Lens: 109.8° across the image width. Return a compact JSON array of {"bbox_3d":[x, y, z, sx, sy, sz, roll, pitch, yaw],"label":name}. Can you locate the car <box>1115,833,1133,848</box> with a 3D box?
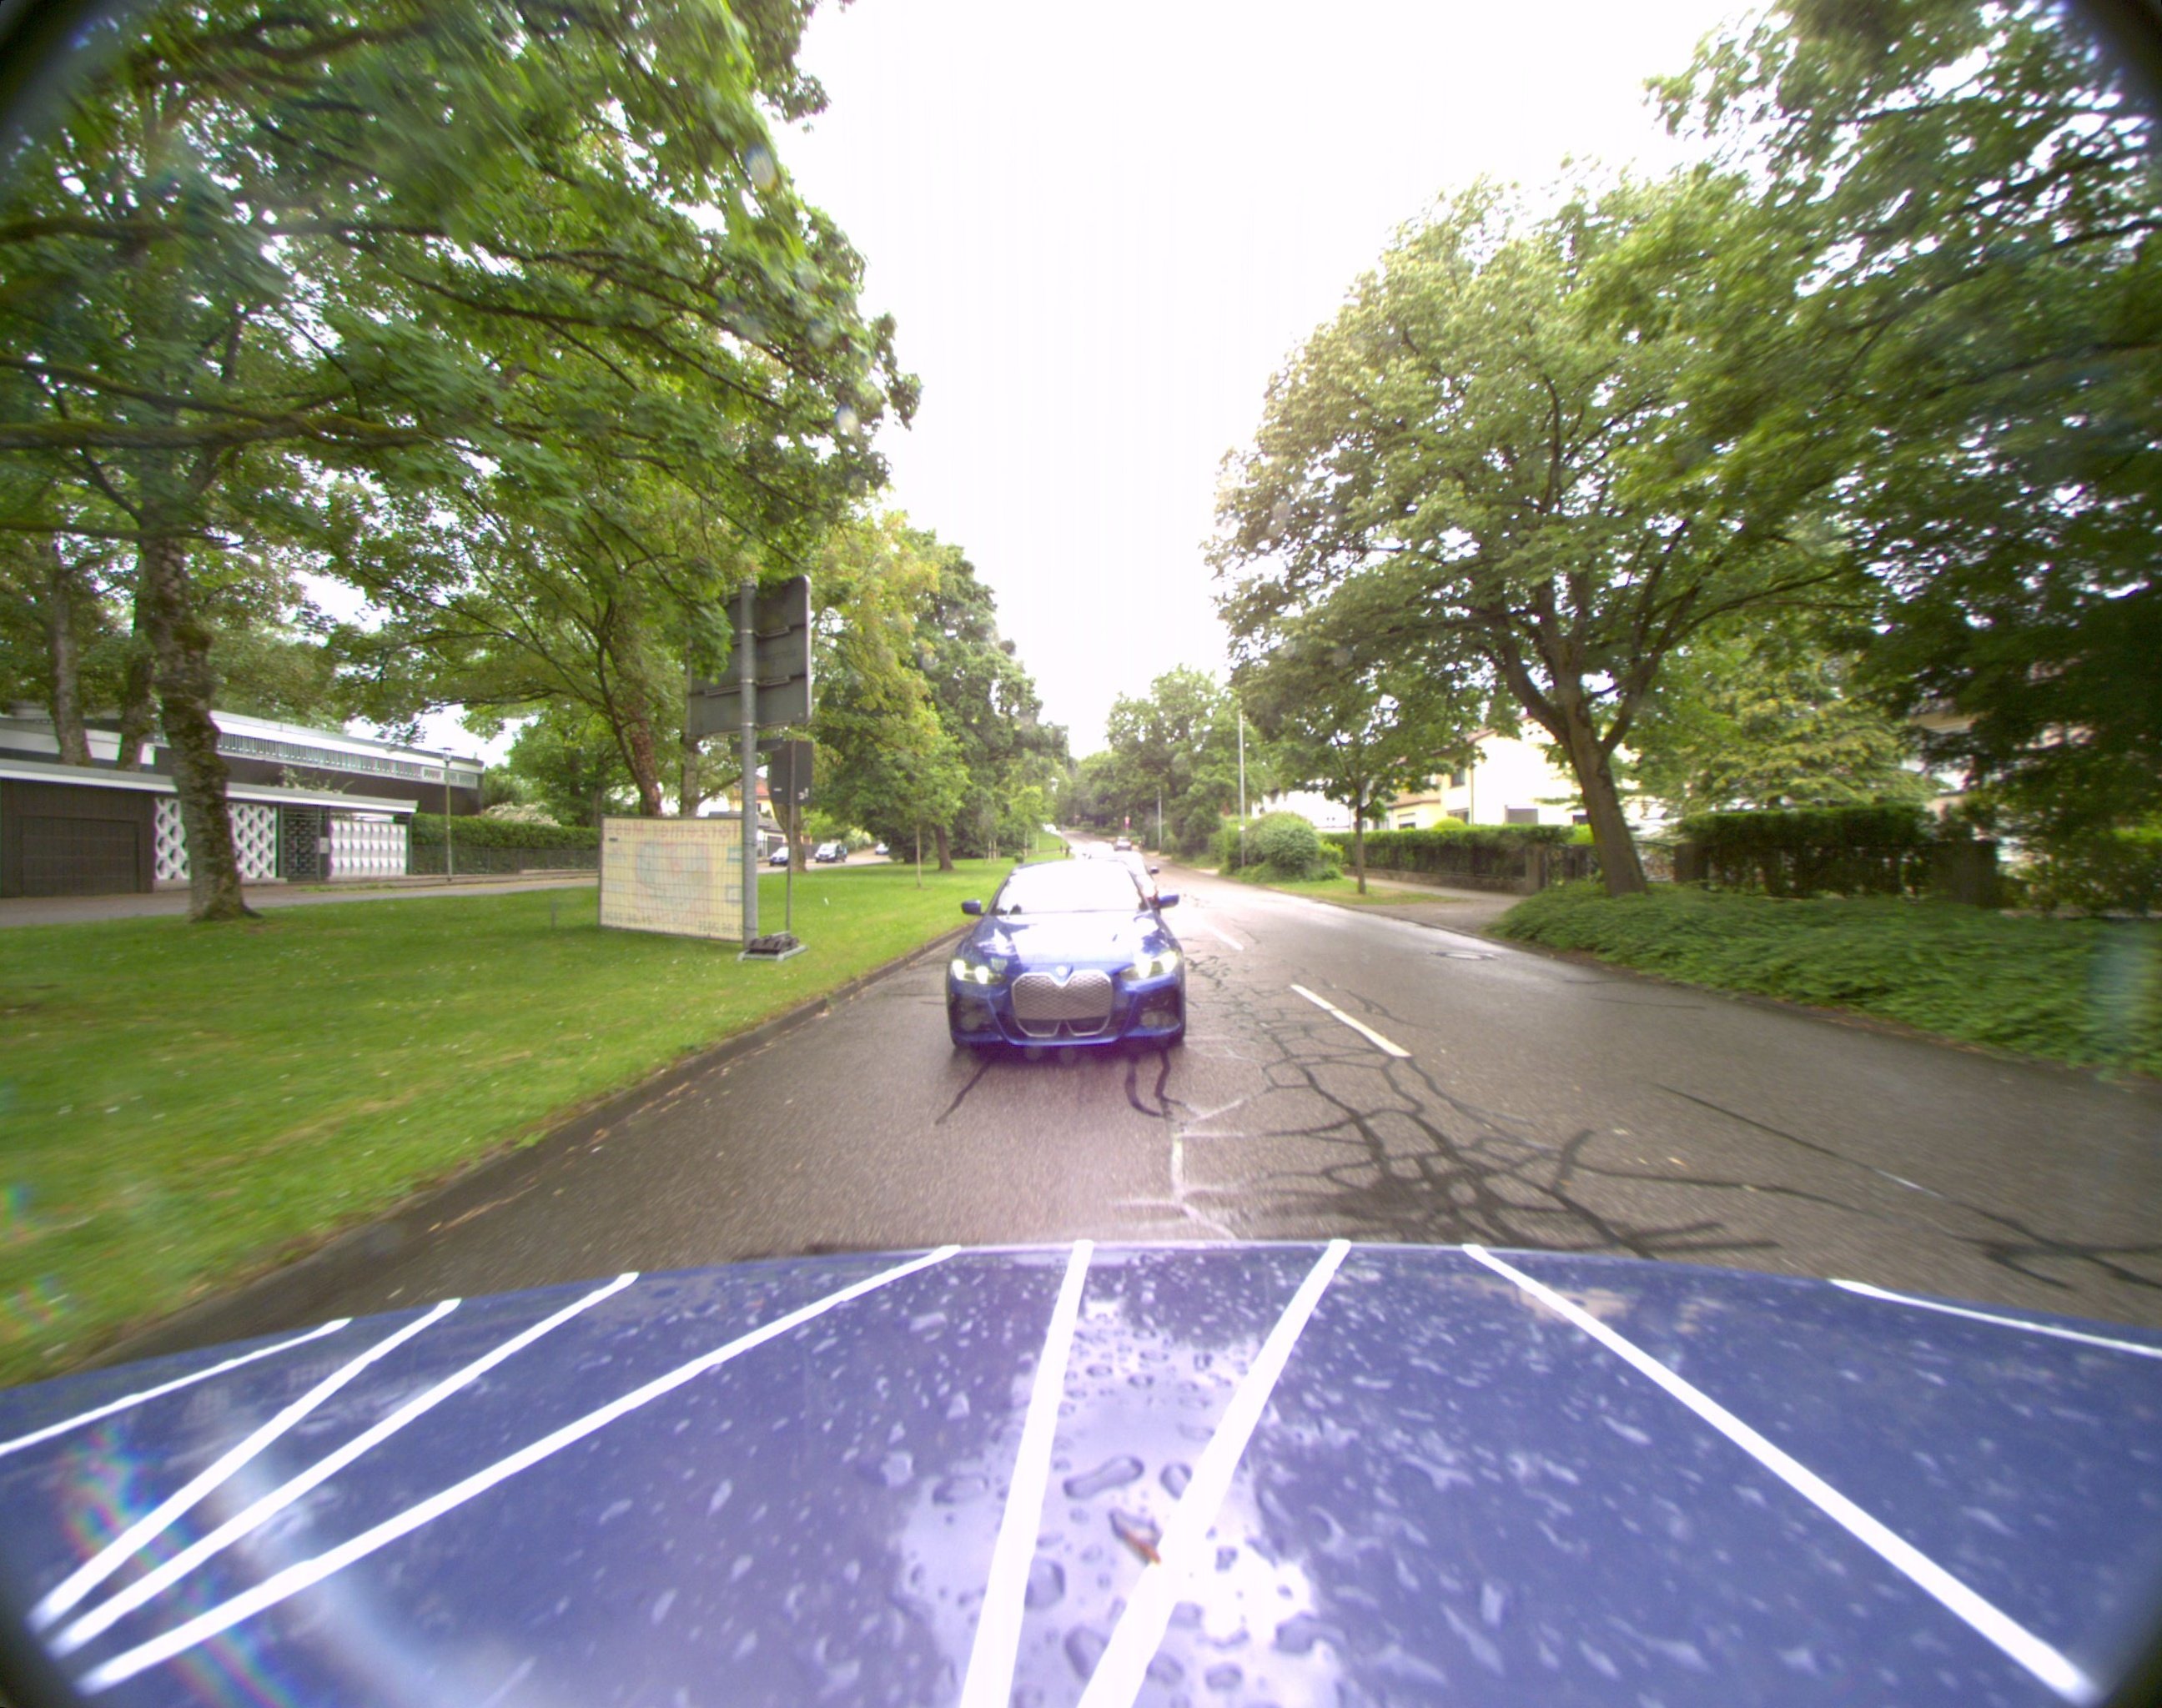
[{"bbox_3d":[4.720,-1.496,83.063,1.768,1.605,4.140,0,1,0],"label":"car"}]

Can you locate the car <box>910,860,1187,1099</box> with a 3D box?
[{"bbox_3d":[-0.105,0.874,7.368,1.796,1.459,4.510,-3,1,3],"label":"car"}]

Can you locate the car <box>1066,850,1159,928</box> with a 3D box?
[{"bbox_3d":[0.731,0.687,17.193,1.795,1.459,4.510,-1,1,3],"label":"car"}]

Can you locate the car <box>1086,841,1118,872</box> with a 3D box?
[{"bbox_3d":[1.149,0.103,41.356,1.678,1.543,3.831,0,2,2],"label":"car"}]

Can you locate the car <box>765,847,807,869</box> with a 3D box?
[{"bbox_3d":[-23.820,0.320,61.529,1.907,1.615,4.033,0,2,-2],"label":"car"}]

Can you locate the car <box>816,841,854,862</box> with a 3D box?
[{"bbox_3d":[-23.890,-0.286,74.082,2.165,1.868,5.067,0,2,-2],"label":"car"}]
